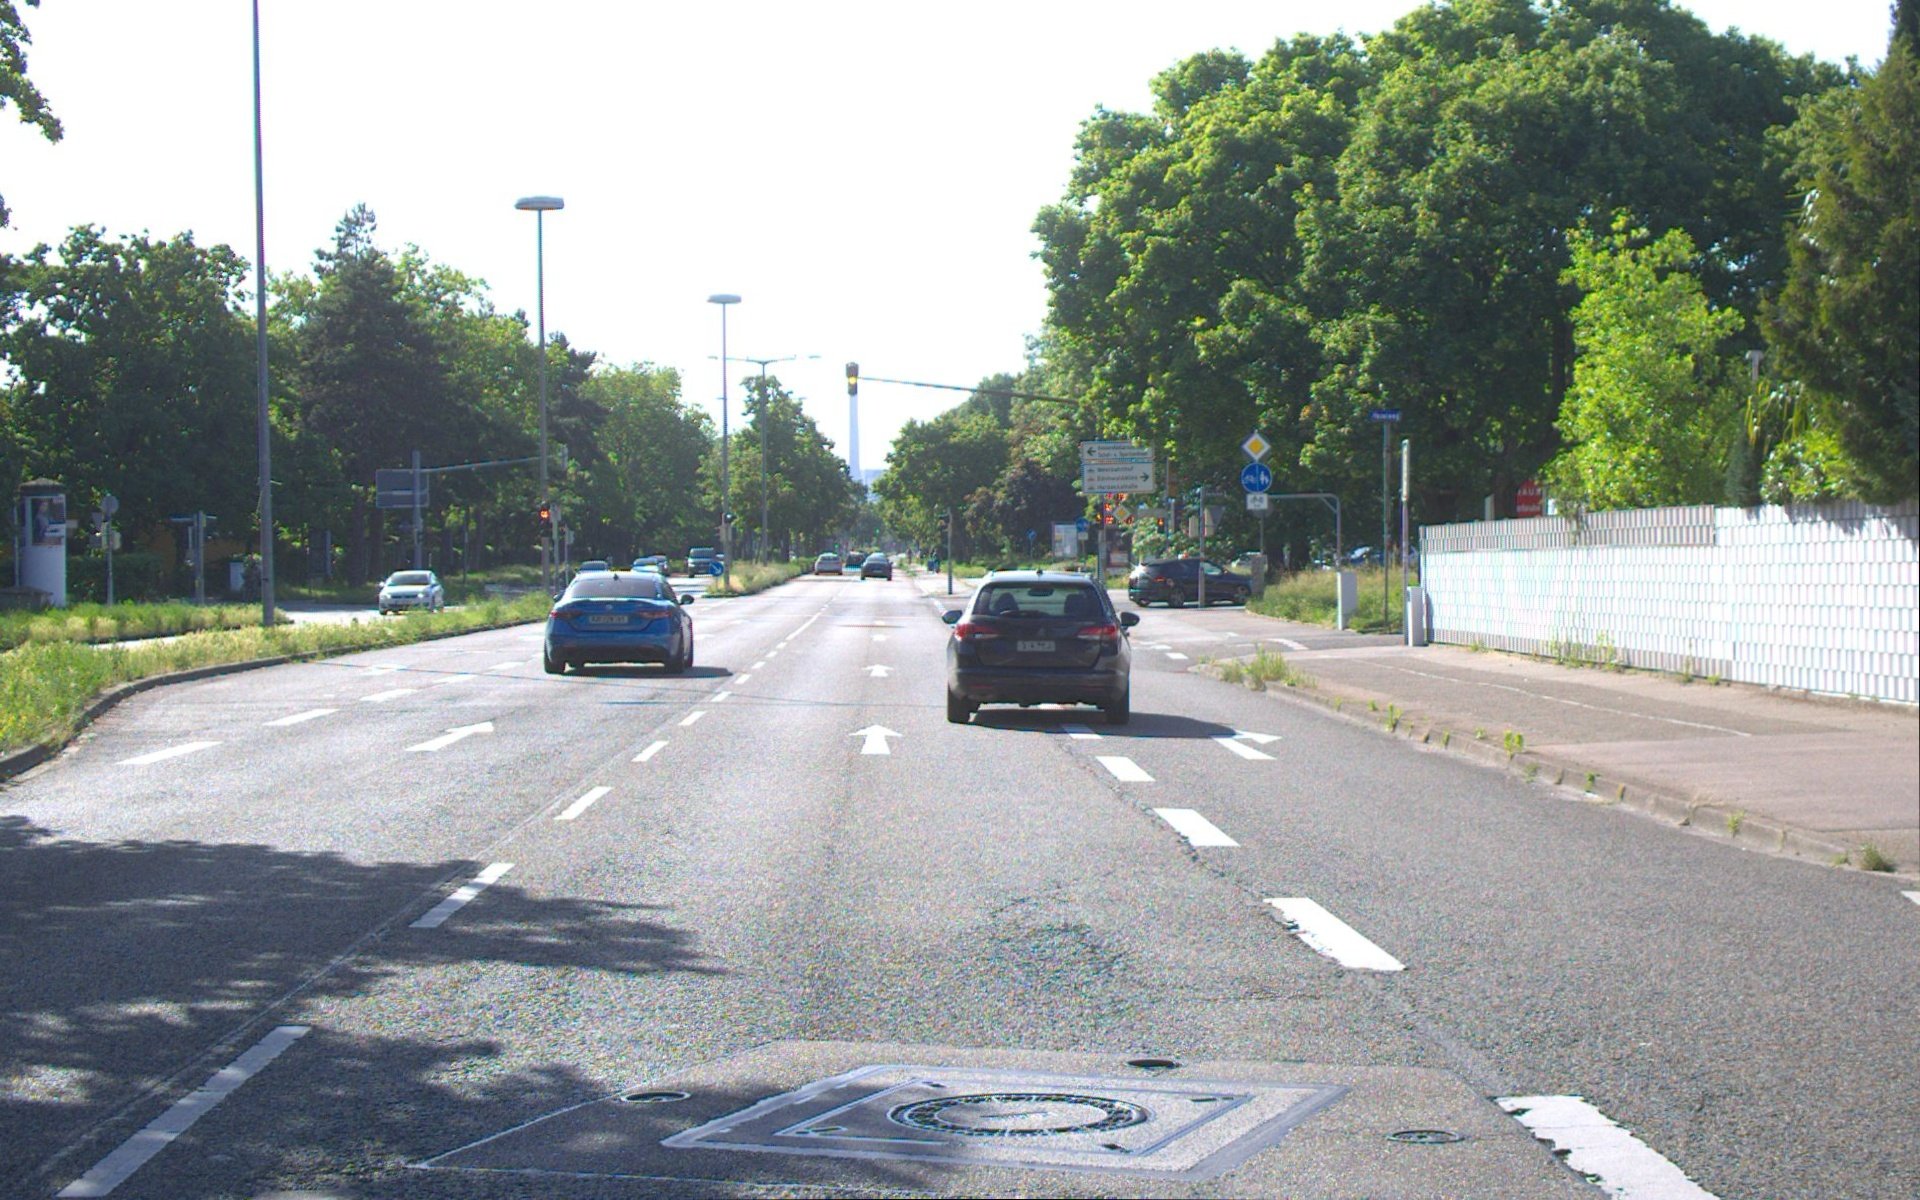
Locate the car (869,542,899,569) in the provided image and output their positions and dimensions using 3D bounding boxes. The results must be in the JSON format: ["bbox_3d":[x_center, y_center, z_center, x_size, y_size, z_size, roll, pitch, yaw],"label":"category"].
[{"bbox_3d":[-4.515,-2.650,205.057,1.732,1.579,3.840,1,1,0],"label":"car"}]

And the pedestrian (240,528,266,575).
[{"bbox_3d":[-28.346,-1.939,137.811,0.846,1.828,0.550,0,8,2],"label":"pedestrian"}]

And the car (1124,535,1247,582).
[{"bbox_3d":[7.160,-1.327,108.903,3.829,1.454,1.737,-1,2,-43],"label":"car"}]

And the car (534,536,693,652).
[{"bbox_3d":[-4.838,-0.108,48.451,1.888,1.546,4.000,-1,1,-1],"label":"car"}]

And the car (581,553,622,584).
[{"bbox_3d":[-19.623,-1.736,188.320,1.864,1.678,4.260,1,1,-1],"label":"car"}]

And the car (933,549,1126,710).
[{"bbox_3d":[0.634,0.251,34.041,1.755,1.504,3.809,0,1,-1],"label":"car"}]

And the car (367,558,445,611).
[{"bbox_3d":[-18.588,-0.535,115.458,1.912,1.697,4.408,1,0,-1],"label":"car"}]

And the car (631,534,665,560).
[{"bbox_3d":[-20.623,-3.518,227.242,1.864,1.678,4.000,2,1,-1],"label":"car"}]
